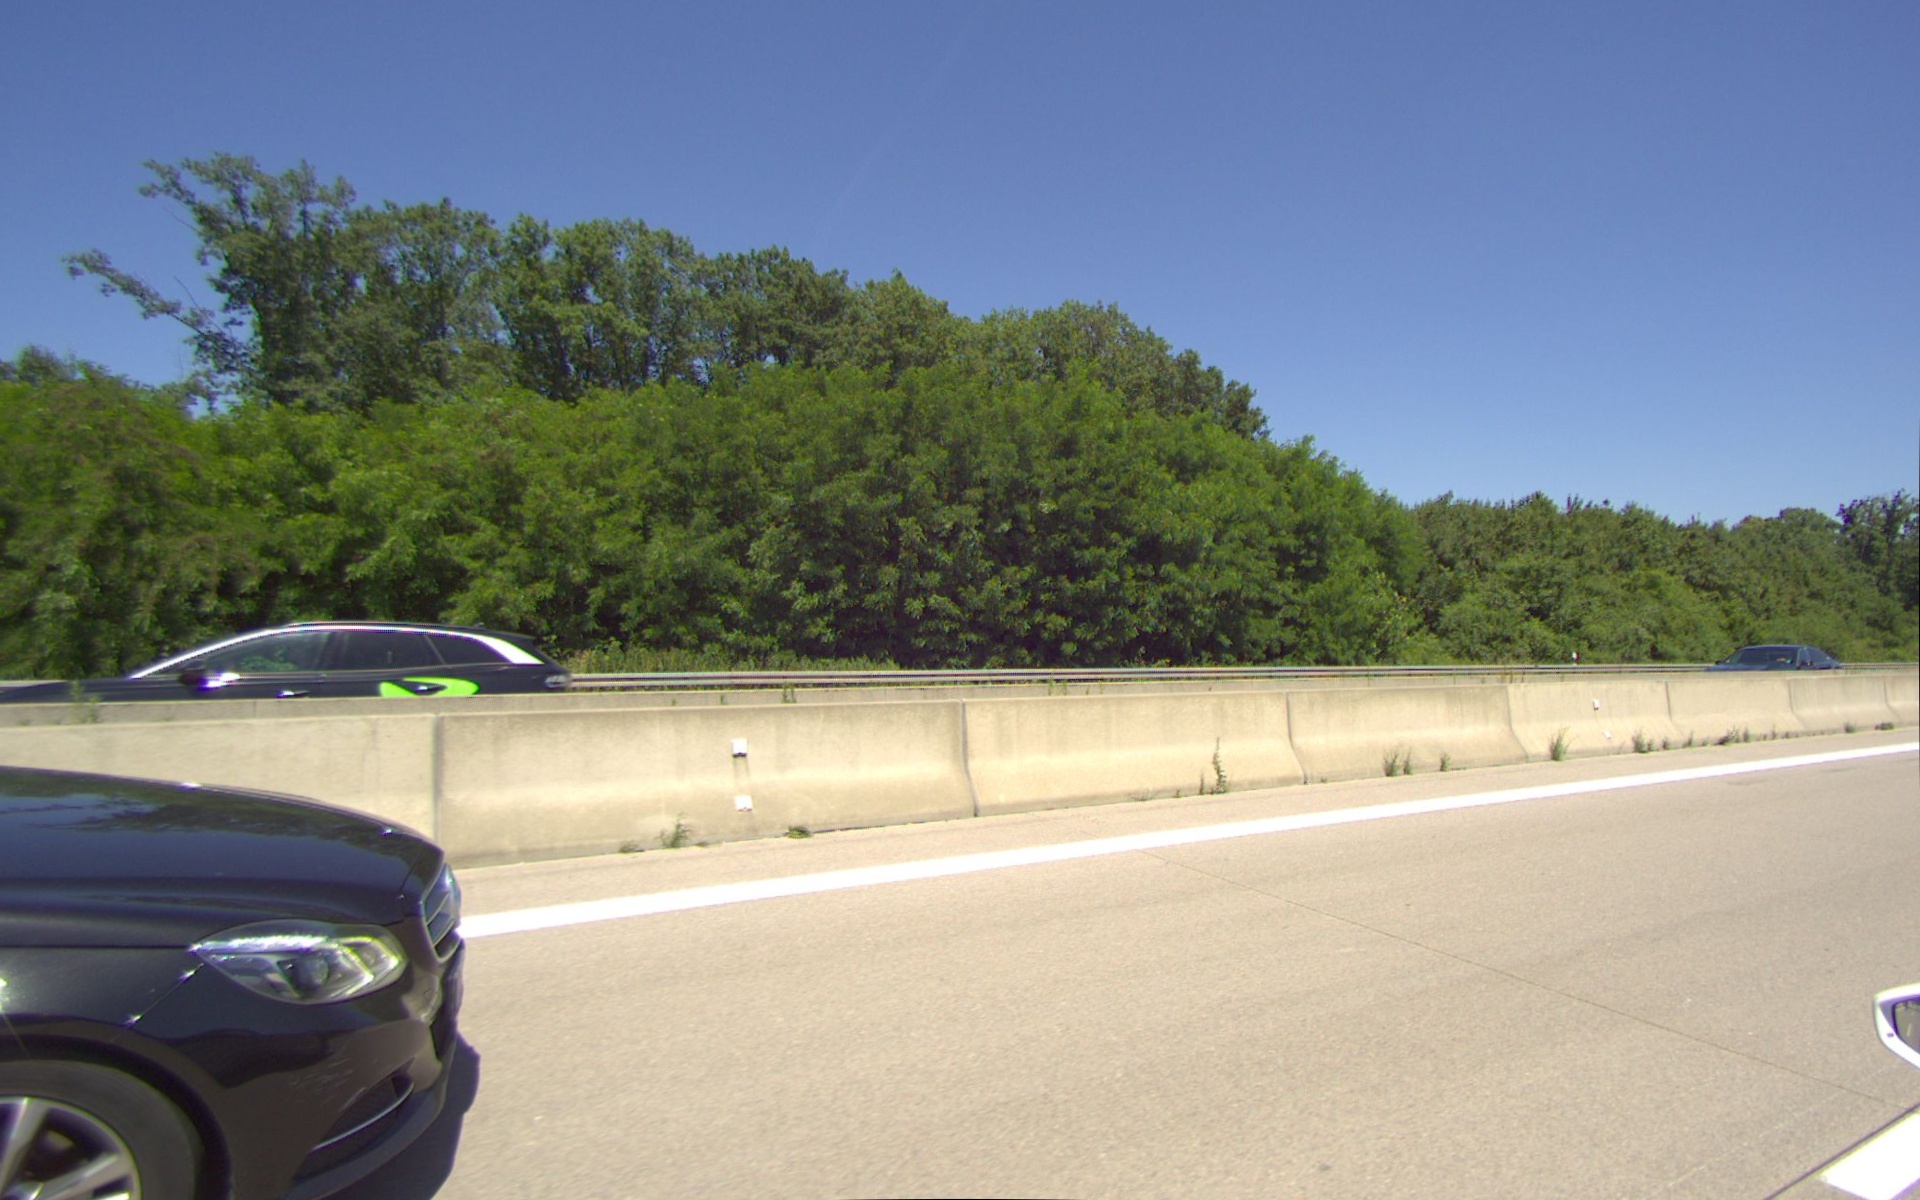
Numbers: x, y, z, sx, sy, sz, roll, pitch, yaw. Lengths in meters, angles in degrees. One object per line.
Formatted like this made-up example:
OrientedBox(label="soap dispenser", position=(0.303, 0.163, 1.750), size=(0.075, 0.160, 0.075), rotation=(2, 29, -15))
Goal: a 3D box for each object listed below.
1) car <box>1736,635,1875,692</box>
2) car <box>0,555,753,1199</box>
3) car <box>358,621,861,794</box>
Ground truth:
OrientedBox(label="car", position=(23.256, 1.705, 27.617), size=(3.968, 1.435, 1.691), rotation=(2, -1, -30))
OrientedBox(label="car", position=(-3.354, 0.653, 1.836), size=(5.538, 1.493, 1.882), rotation=(1, -1, -31))
OrientedBox(label="car", position=(-3.840, 1.050, 11.292), size=(4.937, 1.527, 2.299), rotation=(2, -1, -31))
